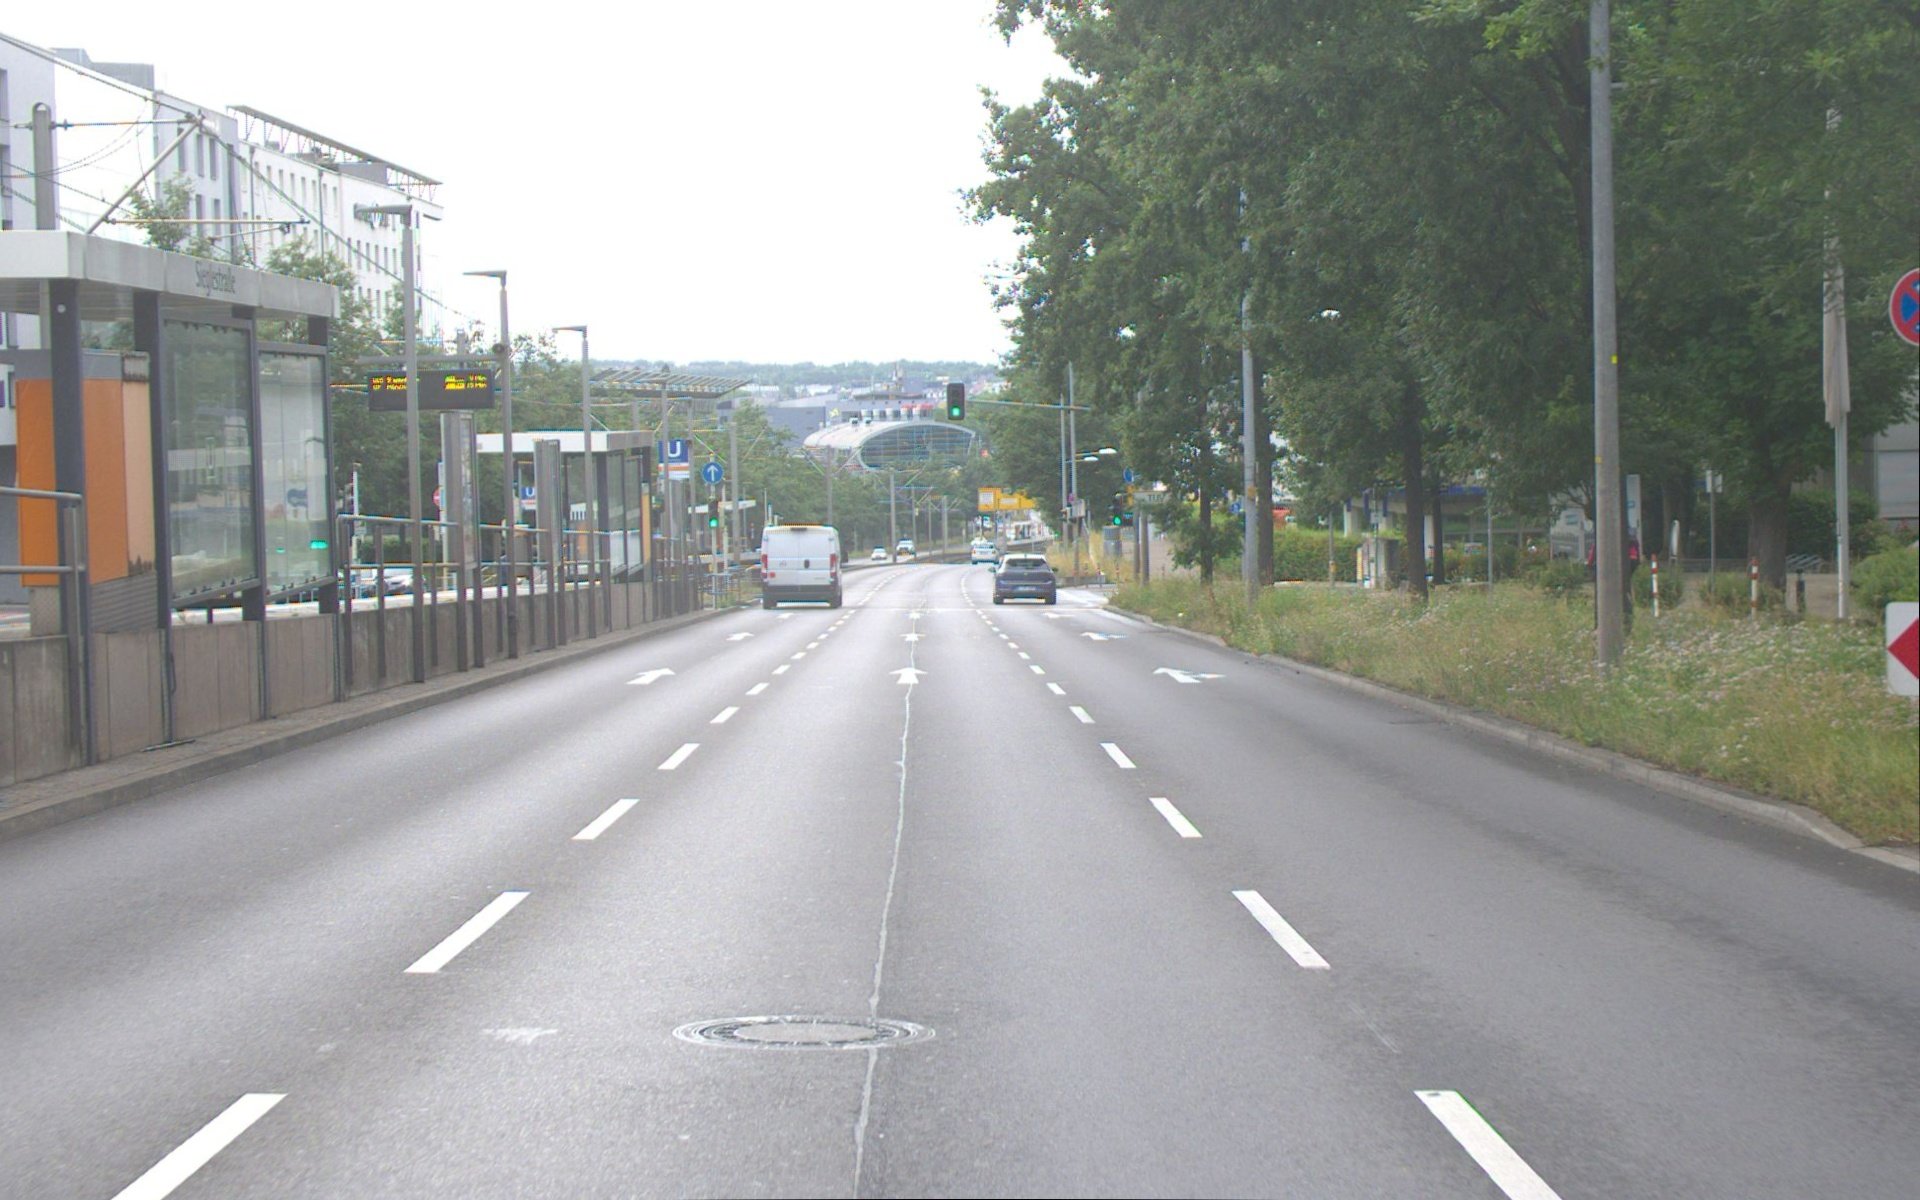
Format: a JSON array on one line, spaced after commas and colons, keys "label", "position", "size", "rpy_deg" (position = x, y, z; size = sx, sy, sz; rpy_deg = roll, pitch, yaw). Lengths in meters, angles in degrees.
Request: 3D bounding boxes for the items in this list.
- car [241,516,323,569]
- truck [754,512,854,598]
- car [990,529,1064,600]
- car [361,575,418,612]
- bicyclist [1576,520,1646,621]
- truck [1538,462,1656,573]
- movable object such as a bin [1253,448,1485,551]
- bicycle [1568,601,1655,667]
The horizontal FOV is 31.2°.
[{"label": "car", "position": [-23.544, -2.005, 119.506], "size": [1.993, 1.768, 4.389], "rpy_deg": [-1, 1, 0]}, {"label": "truck", "position": [-4.213, -1.217, 93.727], "size": [2.360, 2.254, 5.305], "rpy_deg": [1, 0, 1]}, {"label": "car", "position": [1.976, -1.018, 99.824], "size": [1.994, 2.007, 3.934], "rpy_deg": [1, 0, 3]}, {"label": "car", "position": [-23.052, -0.287, 138.995], "size": [1.728, 1.418, 3.780], "rpy_deg": [-1, 1, -1]}, {"label": "bicyclist", "position": [8.497, -0.392, 44.909], "size": [0.655, 1.284, 1.219], "rpy_deg": [1, 1, -1]}, {"label": "truck", "position": [14.846, -1.887, 80.268], "size": [1.746, 2.509, 4.001], "rpy_deg": [1, 0, -4]}, {"label": "movable object such as a bin", "position": [22.337, -5.469, 188.356], "size": [12.141, 5.243, 3.789], "rpy_deg": [-2, 0, 1]}, {"label": "bicycle", "position": [8.488, 0.435, 44.873], "size": [0.667, 0.806, 2.318], "rpy_deg": [1, 0, -1]}]
